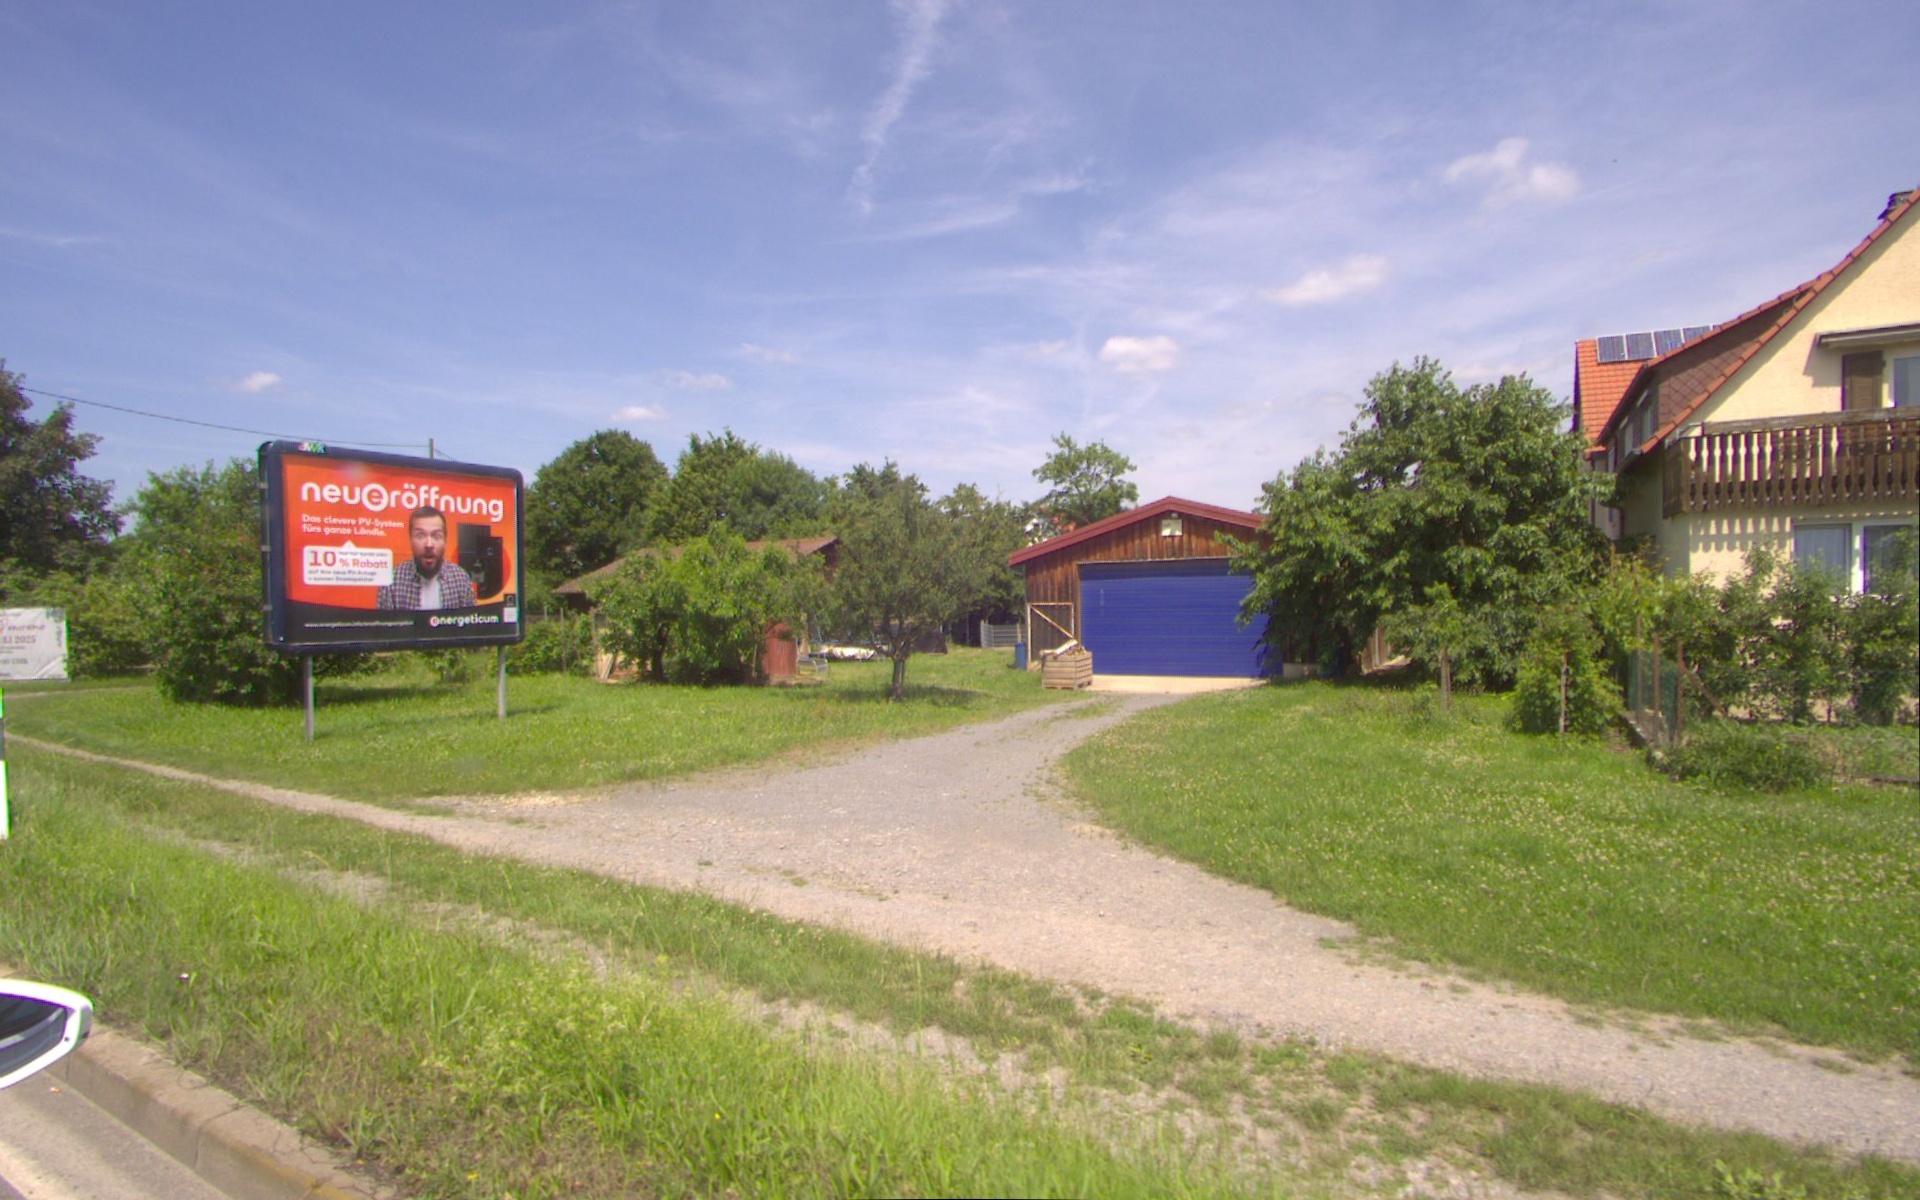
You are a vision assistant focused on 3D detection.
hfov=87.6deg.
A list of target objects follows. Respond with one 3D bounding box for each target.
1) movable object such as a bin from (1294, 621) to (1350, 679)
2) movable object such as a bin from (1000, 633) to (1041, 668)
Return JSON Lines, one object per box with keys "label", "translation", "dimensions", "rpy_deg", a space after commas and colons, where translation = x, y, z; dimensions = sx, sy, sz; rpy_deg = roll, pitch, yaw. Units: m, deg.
{"label": "movable object such as a bin", "translation": [9.062, 1.227, 25.057], "dimensions": [1.049, 1.415, 1.271], "rpy_deg": [0, -1, 33]}
{"label": "movable object such as a bin", "translation": [1.878, 1.556, 31.041], "dimensions": [1.044, 1.046, 1.040], "rpy_deg": [0, -1, 17]}
